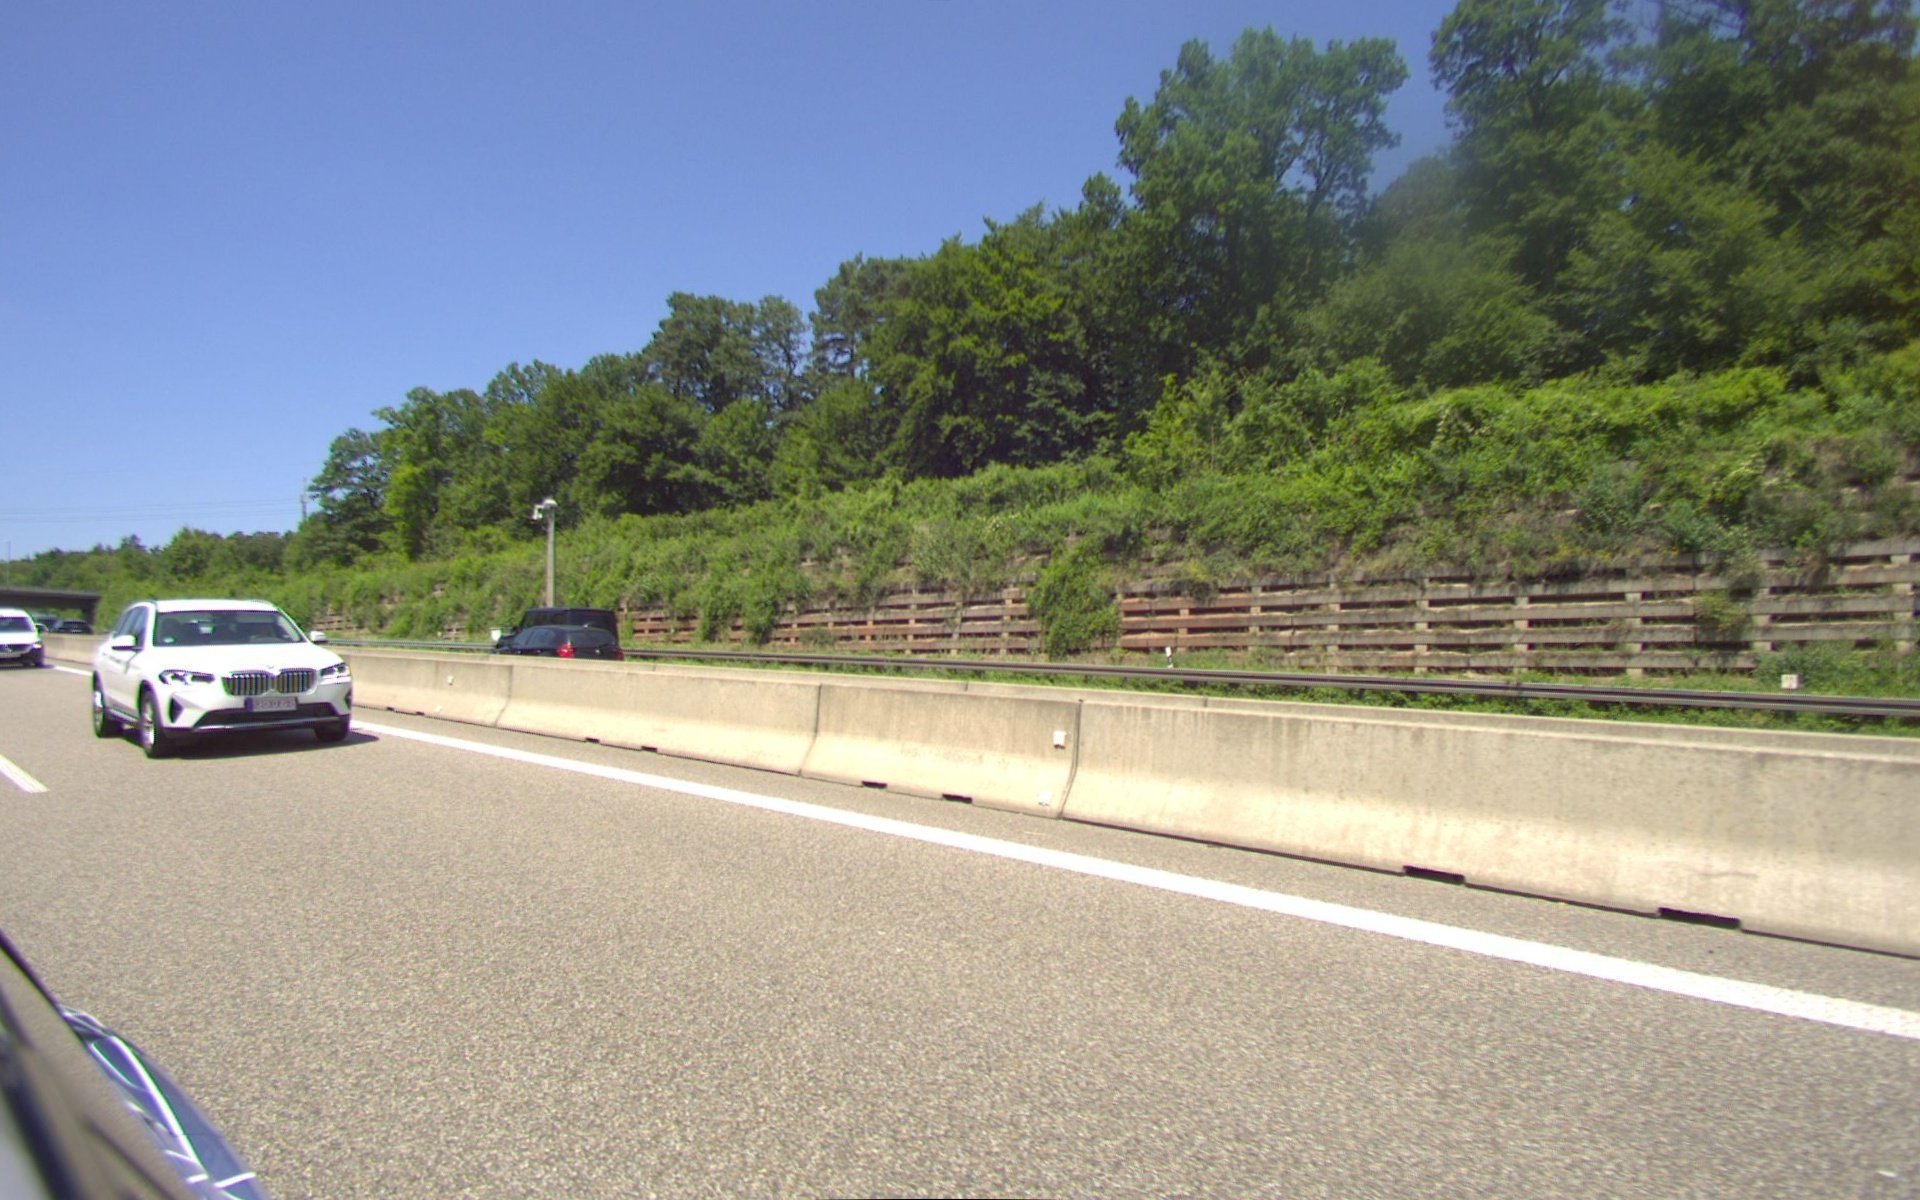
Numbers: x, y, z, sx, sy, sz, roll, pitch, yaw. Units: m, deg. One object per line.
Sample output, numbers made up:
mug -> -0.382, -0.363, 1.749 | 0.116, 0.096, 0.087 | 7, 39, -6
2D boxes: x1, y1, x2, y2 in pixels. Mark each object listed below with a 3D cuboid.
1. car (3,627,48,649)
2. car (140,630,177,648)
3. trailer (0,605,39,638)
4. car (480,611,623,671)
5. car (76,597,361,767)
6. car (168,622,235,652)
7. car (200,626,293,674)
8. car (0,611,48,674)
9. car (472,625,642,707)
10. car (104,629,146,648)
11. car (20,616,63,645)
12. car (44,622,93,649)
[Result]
car -> -70.676, 2.855, 76.494 | 5.223, 1.617, 1.919 | -1, -3, 41
car -> -75.230, 3.655, 94.971 | 4.462, 1.617, 1.919 | -1, -3, 41
trailer -> -128.310, 2.928, 137.690 | 14.177, 4.217, 2.904 | -1, 0, 41
car -> -11.910, 1.172, 29.370 | 4.654, 1.617, 1.919 | -1, -3, 41
car -> -8.925, 0.844, 12.035 | 4.366, 1.656, 1.826 | -1, -1, 41
car -> -43.454, 2.098, 57.930 | 5.646, 1.650, 1.863 | -1, -3, 41
car -> -25.335, 1.743, 35.901 | 4.056, 1.617, 1.728 | -1, -3, 41
car -> -29.418, 1.263, 30.857 | 4.501, 1.788, 1.972 | -1, 0, 43
car -> -8.844, 1.377, 22.074 | 4.079, 1.617, 1.743 | -1, -3, 41
car -> -71.258, 3.284, 86.352 | 4.857, 1.617, 1.919 | -1, -3, 41
car -> -89.385, 2.967, 98.430 | 7.134, 2.704, 2.216 | -1, -3, 41
car -> -56.595, 2.276, 64.257 | 4.301, 1.650, 1.735 | -1, -3, 41
